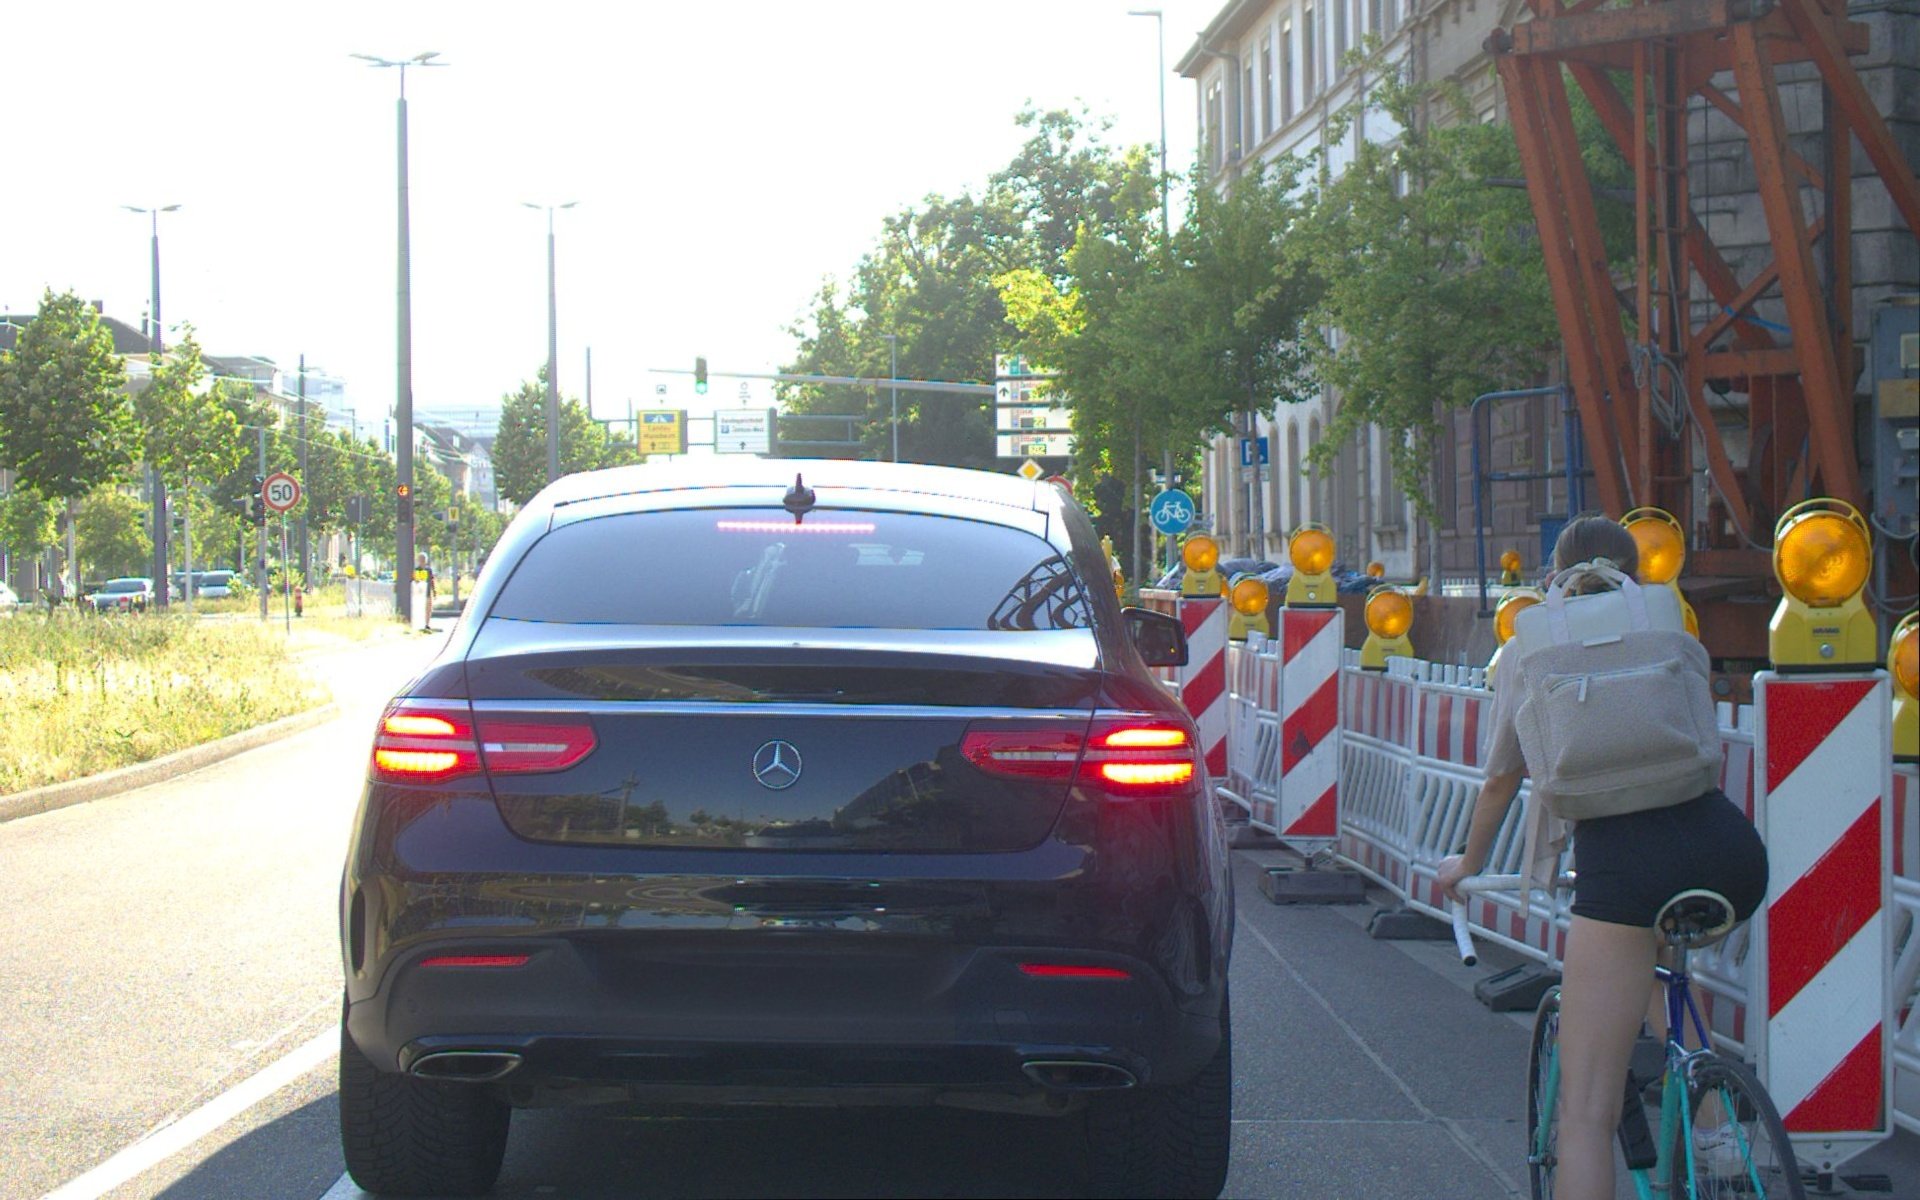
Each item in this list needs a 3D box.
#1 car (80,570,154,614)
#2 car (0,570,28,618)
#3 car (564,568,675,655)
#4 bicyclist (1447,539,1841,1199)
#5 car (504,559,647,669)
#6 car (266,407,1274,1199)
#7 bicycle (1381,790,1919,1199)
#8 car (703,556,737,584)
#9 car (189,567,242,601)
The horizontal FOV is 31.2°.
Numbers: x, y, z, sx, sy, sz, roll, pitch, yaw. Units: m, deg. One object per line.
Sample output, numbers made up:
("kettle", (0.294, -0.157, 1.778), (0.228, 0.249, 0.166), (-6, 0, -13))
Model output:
("car", (-28.125, -0.281, 114.803), (1.708, 1.437, 3.583), (1, 1, -3))
("car", (-29.700, -0.205, 104.877), (1.708, 1.437, 3.583), (1, 1, -3))
("car", (-5.854, 0.182, 59.468), (1.708, 1.437, 3.583), (1, 1, -3))
("bicyclist", (1.187, 0.594, 6.056), (0.522, 1.391, 0.615), (1, 0, -3))
("car", (-5.238, 0.166, 47.210), (1.708, 1.437, 3.583), (1, 1, -3))
("car", (-0.403, 0.491, 8.872), (1.993, 1.766, 4.000), (1, 1, -1))
("bicycle", (1.167, 0.923, 6.148), (0.512, 1.048, 1.725), (1, 1, -3))
("car", (-12.789, -1.589, 183.568), (1.708, 1.437, 3.583), (1, 1, -3))
("car", (-32.552, -0.700, 150.402), (1.708, 1.437, 3.583), (1, 1, -3))
